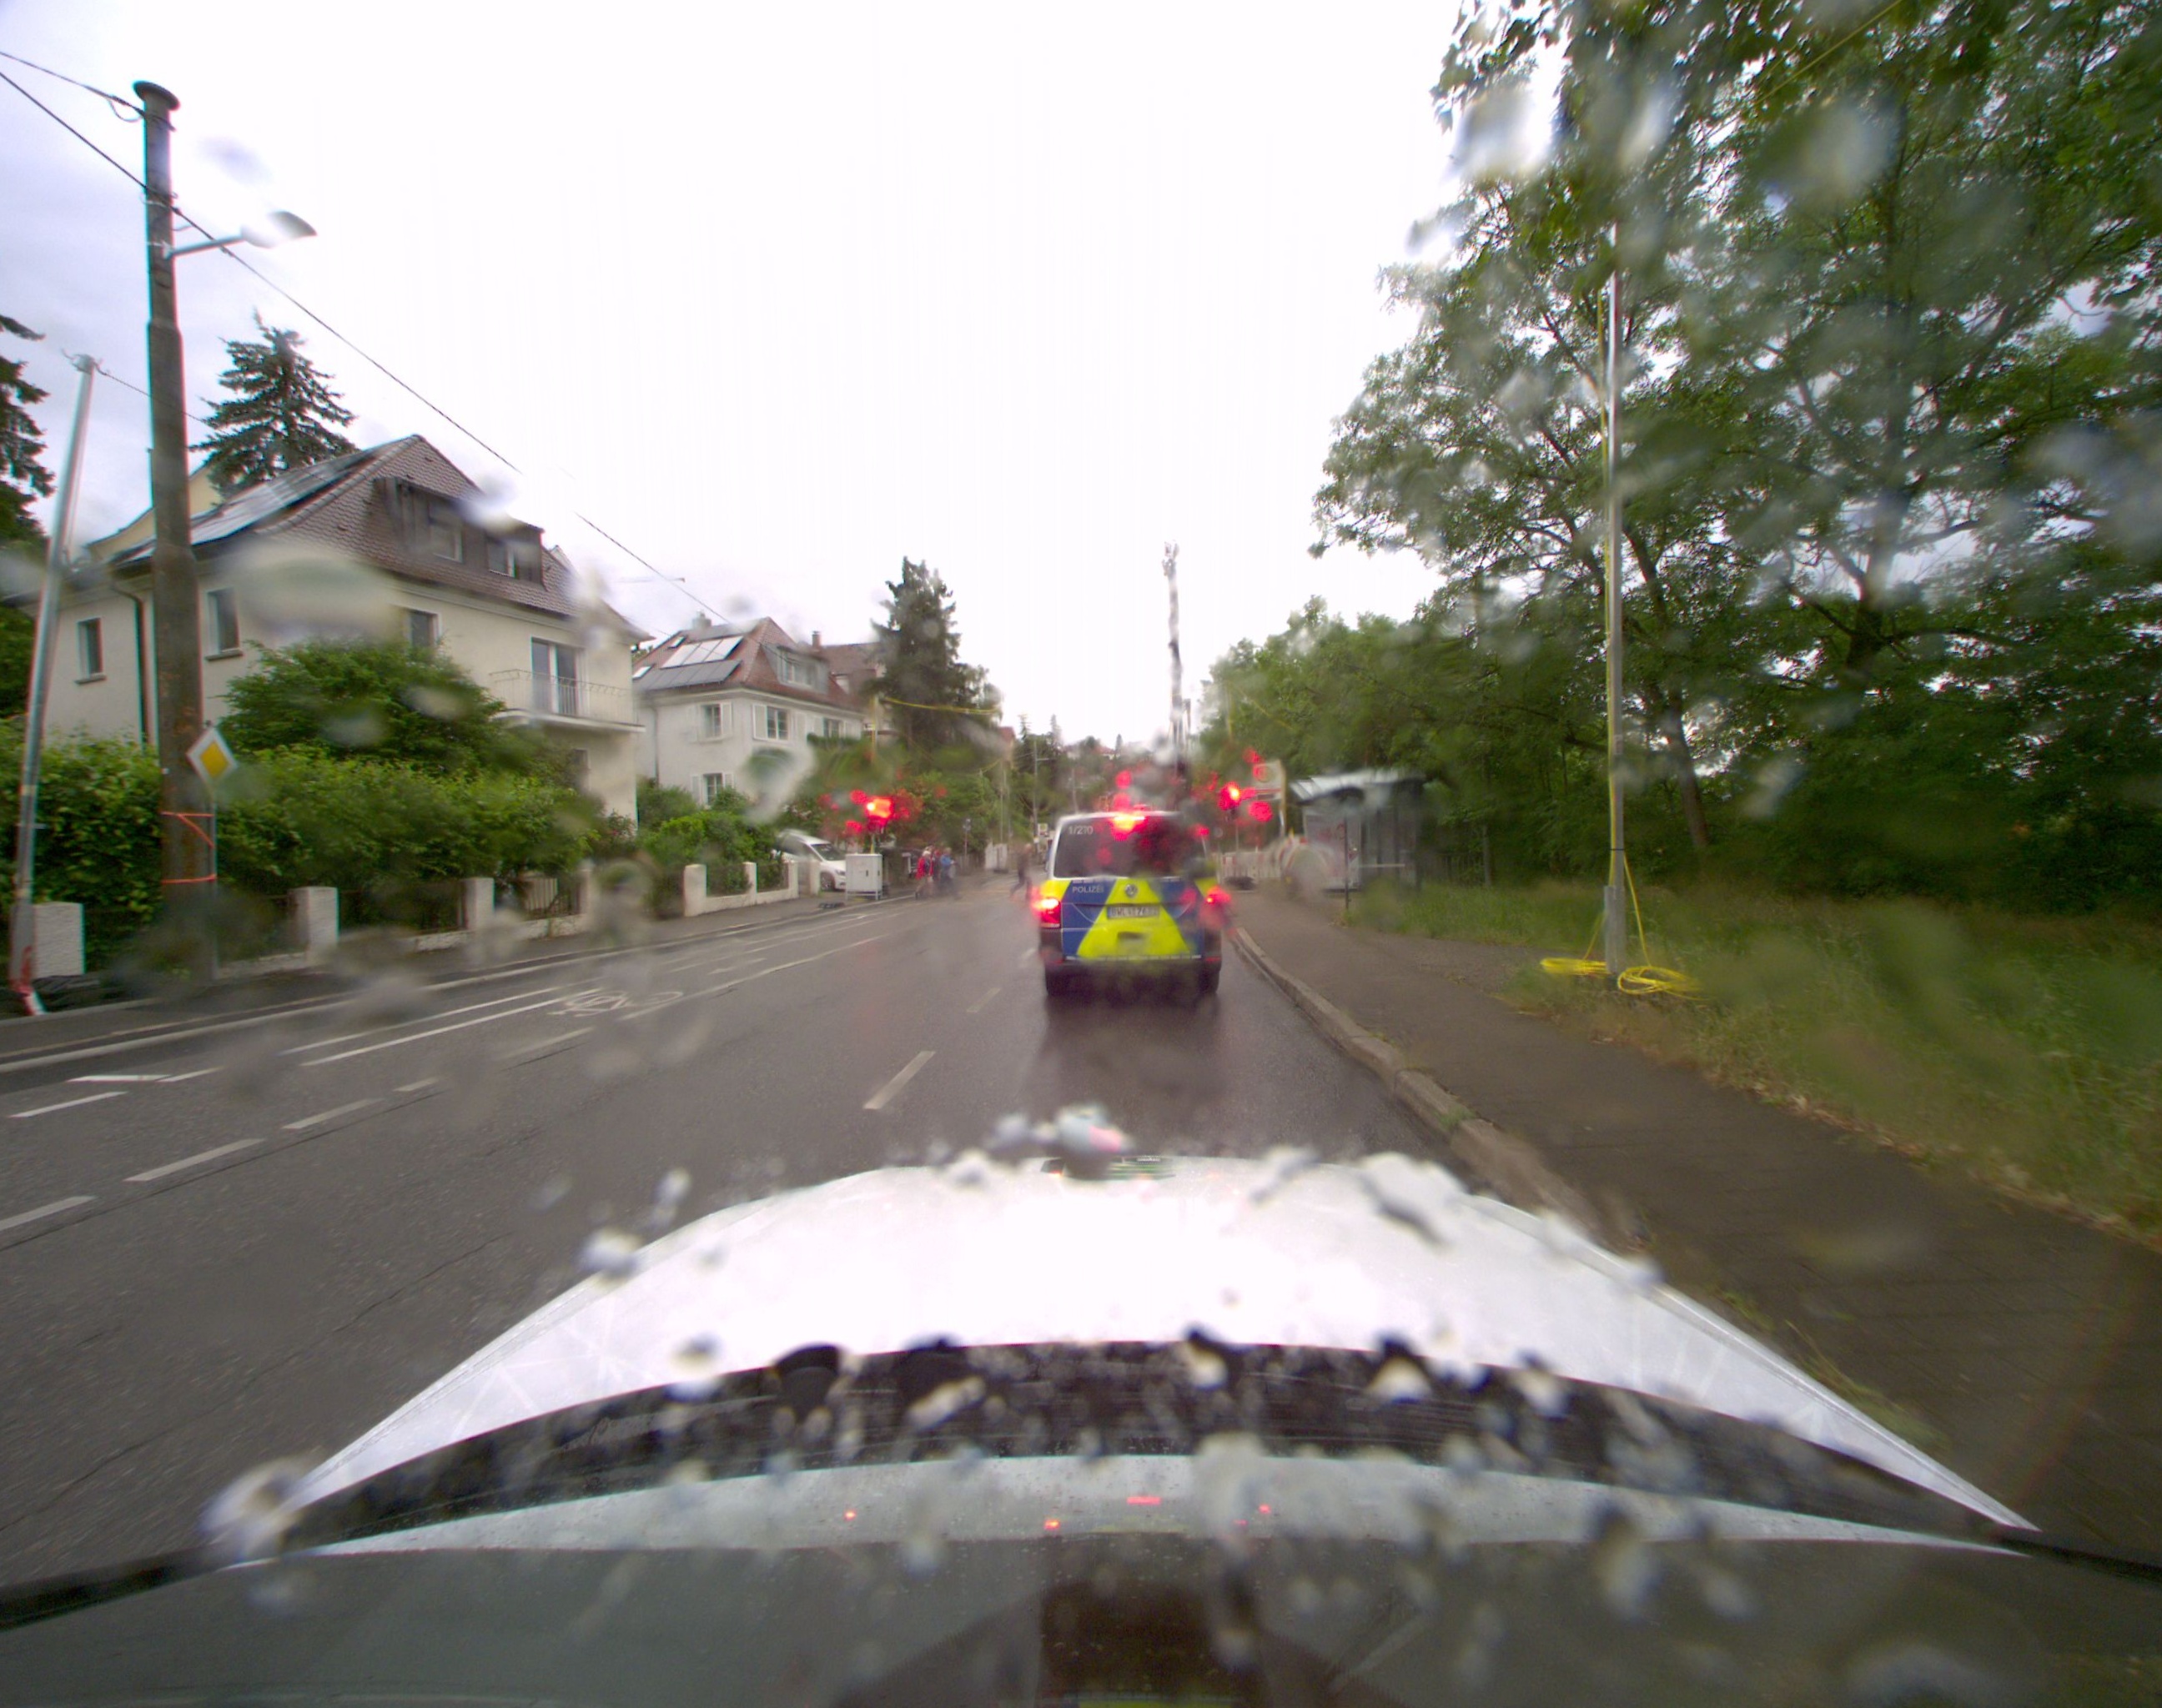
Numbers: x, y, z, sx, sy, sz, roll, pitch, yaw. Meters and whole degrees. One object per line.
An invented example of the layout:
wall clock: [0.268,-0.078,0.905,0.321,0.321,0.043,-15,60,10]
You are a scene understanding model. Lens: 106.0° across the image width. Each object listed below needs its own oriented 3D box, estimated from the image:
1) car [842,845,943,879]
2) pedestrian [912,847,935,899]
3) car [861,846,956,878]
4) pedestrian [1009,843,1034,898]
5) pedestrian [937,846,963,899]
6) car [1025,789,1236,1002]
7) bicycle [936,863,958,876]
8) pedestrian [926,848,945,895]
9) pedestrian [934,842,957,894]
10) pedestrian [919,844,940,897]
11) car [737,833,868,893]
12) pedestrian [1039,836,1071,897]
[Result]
car: [-8.354,0.373,36.241,3.960,1.486,1.766,0,-2,12]
pedestrian: [-4.815,0.573,24.848,0.560,1.582,0.468,0,-2,4]
car: [-8.090,0.388,38.384,3.960,1.486,1.766,0,-2,12]
pedestrian: [-1.760,0.492,24.229,0.683,1.604,0.606,0,-2,1]
pedestrian: [-3.846,0.550,23.935,0.623,1.522,0.593,0,-2,4]
car: [0.587,0.381,9.945,1.985,2.013,4.405,0,0,3]
bicycle: [-6.771,0.767,41.256,1.046,0.662,0.321,0,-2,12]
pedestrian: [-4.713,0.575,26.403,0.523,1.507,0.430,0,-2,4]
pedestrian: [-4.502,0.468,27.047,0.623,1.715,0.593,0,-2,4]
pedestrian: [-4.774,0.523,25.635,0.546,1.668,0.414,0,-2,4]
car: [-9.831,0.303,28.828,3.959,2.013,1.837,-1,0,13]
pedestrian: [-0.768,0.368,24.260,0.886,1.787,0.828,0,-2,1]
